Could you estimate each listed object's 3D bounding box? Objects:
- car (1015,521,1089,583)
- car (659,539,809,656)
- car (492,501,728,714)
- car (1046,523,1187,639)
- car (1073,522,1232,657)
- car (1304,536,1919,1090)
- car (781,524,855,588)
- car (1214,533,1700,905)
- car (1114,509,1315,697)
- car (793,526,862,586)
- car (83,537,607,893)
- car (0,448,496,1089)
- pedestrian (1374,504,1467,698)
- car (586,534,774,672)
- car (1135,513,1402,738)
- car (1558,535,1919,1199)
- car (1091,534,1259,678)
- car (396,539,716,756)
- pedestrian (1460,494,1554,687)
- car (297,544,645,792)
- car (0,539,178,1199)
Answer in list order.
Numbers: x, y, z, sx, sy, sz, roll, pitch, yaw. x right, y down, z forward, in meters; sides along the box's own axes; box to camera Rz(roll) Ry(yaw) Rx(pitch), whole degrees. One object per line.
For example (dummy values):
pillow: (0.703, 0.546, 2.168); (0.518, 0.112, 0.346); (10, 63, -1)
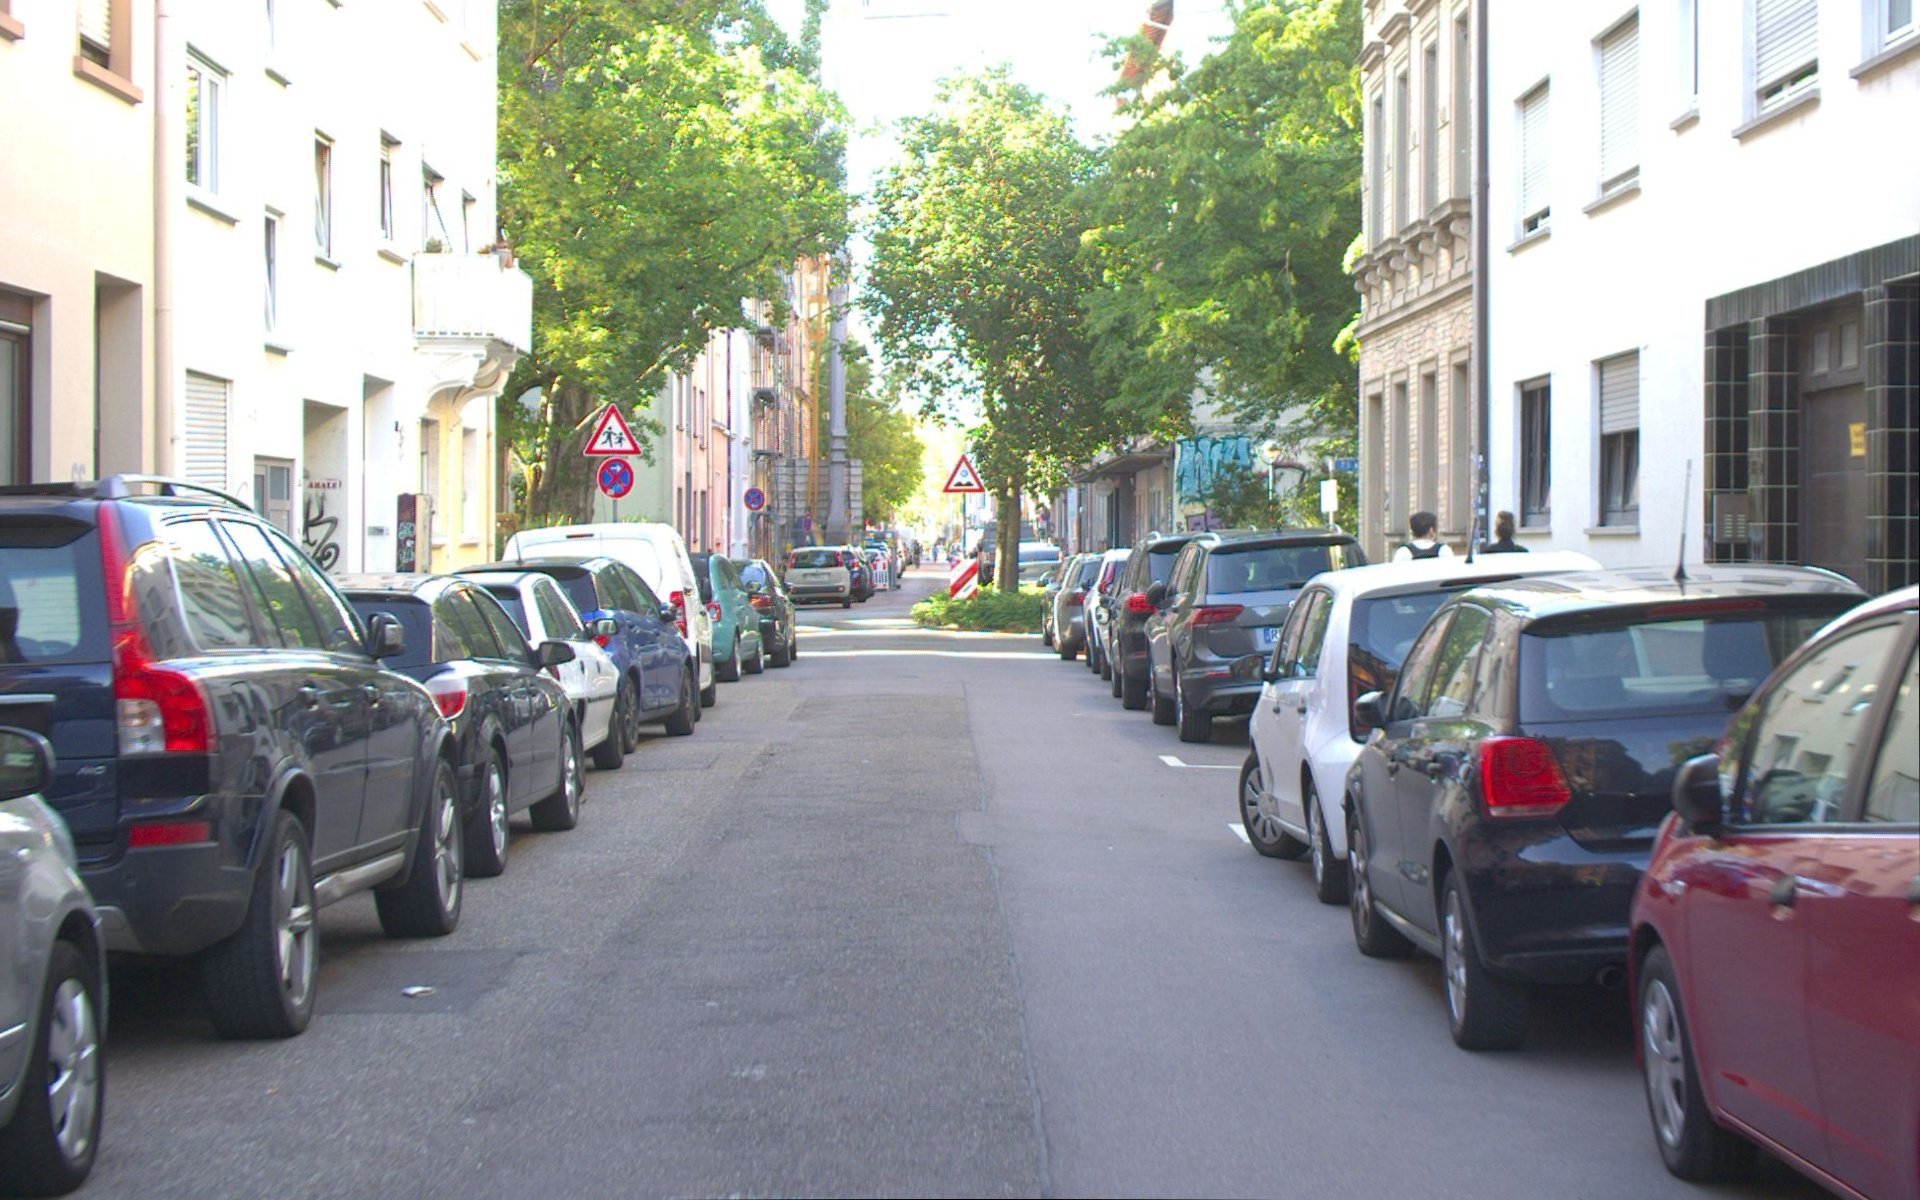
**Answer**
car: (2.307, -1.230, 87.037); (1.676, 1.482, 3.638); (-2, 1, -1)
car: (-2.879, -0.066, 44.559); (1.670, 1.356, 4.049); (-2, 1, 0)
car: (-3.150, 0.013, 31.627); (1.765, 1.779, 4.039); (-2, 1, -1)
car: (2.142, -0.296, 48.031); (1.676, 1.482, 4.095); (-2, 1, -1)
car: (2.371, -0.167, 43.128); (1.676, 1.556, 3.796); (-2, 1, -1)
car: (2.268, 0.573, 11.792); (1.676, 1.501, 3.938); (-2, 1, -1)
car: (-3.509, -1.124, 85.583); (1.676, 1.482, 4.095); (-2, 1, -1)
car: (2.263, 0.468, 16.601); (1.676, 1.501, 3.938); (-2, 1, -1)
car: (2.440, 0.006, 33.755); (1.676, 1.676, 4.094); (-2, 1, 1)
car: (-3.491, -1.178, 91.004); (1.676, 1.482, 4.095); (-2, 1, -1)
car: (-2.977, 0.478, 17.557); (1.743, 1.501, 4.346); (-2, 1, 2)
car: (-2.910, 0.438, 12.115); (1.743, 1.805, 4.672); (-2, 1, 2)
pedestrian: (3.991, -0.002, 29.816); (0.685, 1.654, 0.717); (-1, 1, 0)
car: (-3.237, 0.001, 40.386); (1.670, 1.464, 3.820); (-2, 1, 3)
car: (2.488, 0.151, 28.647); (1.676, 1.621, 4.251); (-4, 1, -1)
car: (2.517, 0.629, 7.483); (1.598, 1.501, 4.185); (-2, 1, -1)
car: (2.389, 0.028, 38.918); (1.566, 1.478, 3.619); (-2, 1, -1)
car: (-3.082, 0.312, 26.979); (1.674, 1.481, 3.991); (-2, 1, 5)
pedestrian: (4.767, -0.093, 30.003); (0.685, 1.654, 0.717); (-1, 1, 0)
car: (-3.107, 0.374, 22.586); (1.673, 1.383, 4.182); (-2, 1, 0)
car: (-2.918, 0.682, 6.888); (1.656, 1.516, 3.944); (-2, 1, 2)
